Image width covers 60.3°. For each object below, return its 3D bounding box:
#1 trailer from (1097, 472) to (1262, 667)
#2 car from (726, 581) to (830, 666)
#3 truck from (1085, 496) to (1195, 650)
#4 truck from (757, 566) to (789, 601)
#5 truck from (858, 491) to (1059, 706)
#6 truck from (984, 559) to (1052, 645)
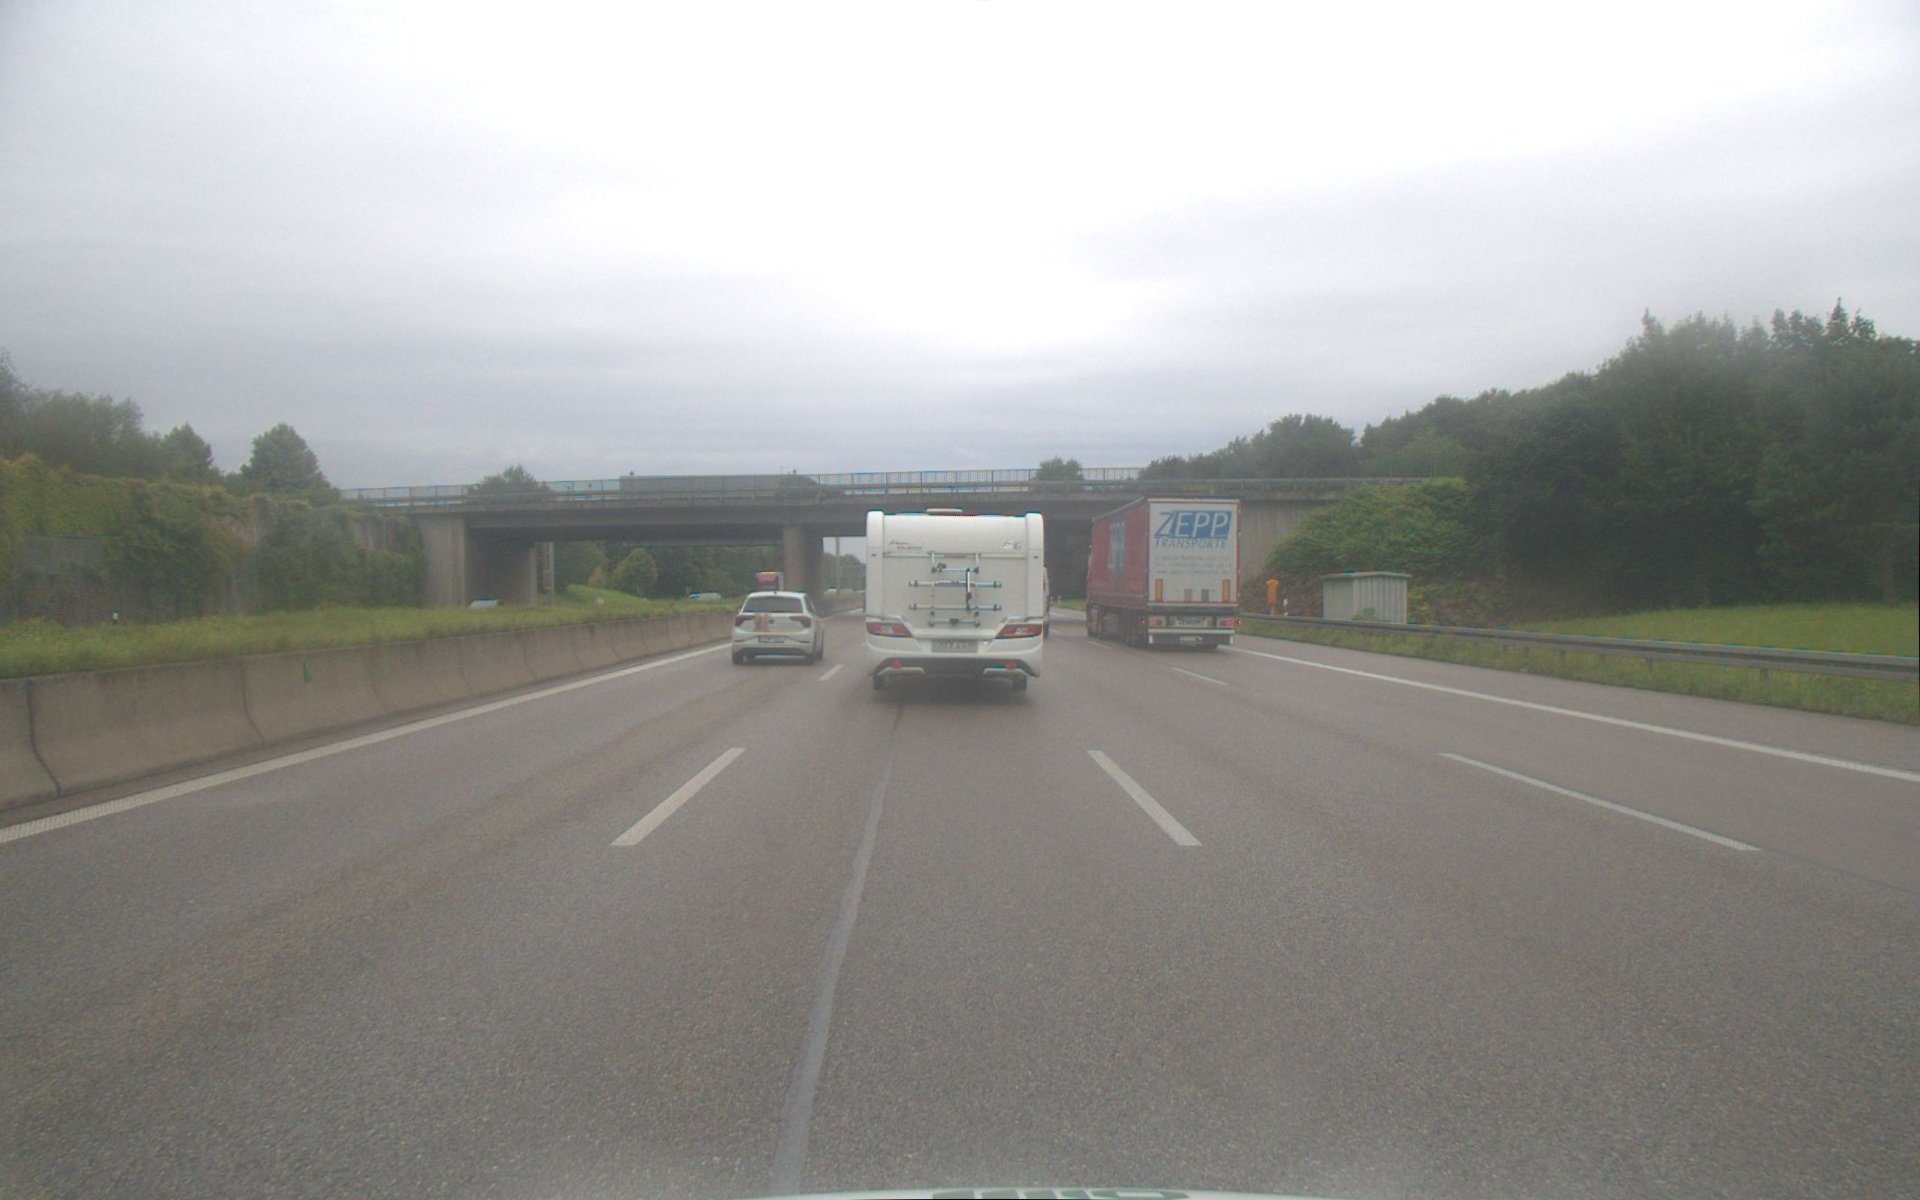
[{"bbox_3d":[6.176,-0.788,48.761,3.037,5.008,11.787,1,0,-1],"label":"trailer"},{"bbox_3d":[-3.733,0.443,34.554,1.717,1.646,4.663,0,1,-1],"label":"car"},{"bbox_3d":[6.056,-0.871,56.531,2.986,4.924,5.849,1,0,-1],"label":"truck"},{"bbox_3d":[-21.626,-1.905,191.501,2.638,3.918,10.109,-1,1,-1],"label":"truck"},{"bbox_3d":[-0.071,-0.018,24.375,2.607,2.790,5.076,1,0,-1],"label":"truck"},{"bbox_3d":[1.980,0.059,57.704,2.012,2.818,5.547,1,0,-1],"label":"truck"}]
